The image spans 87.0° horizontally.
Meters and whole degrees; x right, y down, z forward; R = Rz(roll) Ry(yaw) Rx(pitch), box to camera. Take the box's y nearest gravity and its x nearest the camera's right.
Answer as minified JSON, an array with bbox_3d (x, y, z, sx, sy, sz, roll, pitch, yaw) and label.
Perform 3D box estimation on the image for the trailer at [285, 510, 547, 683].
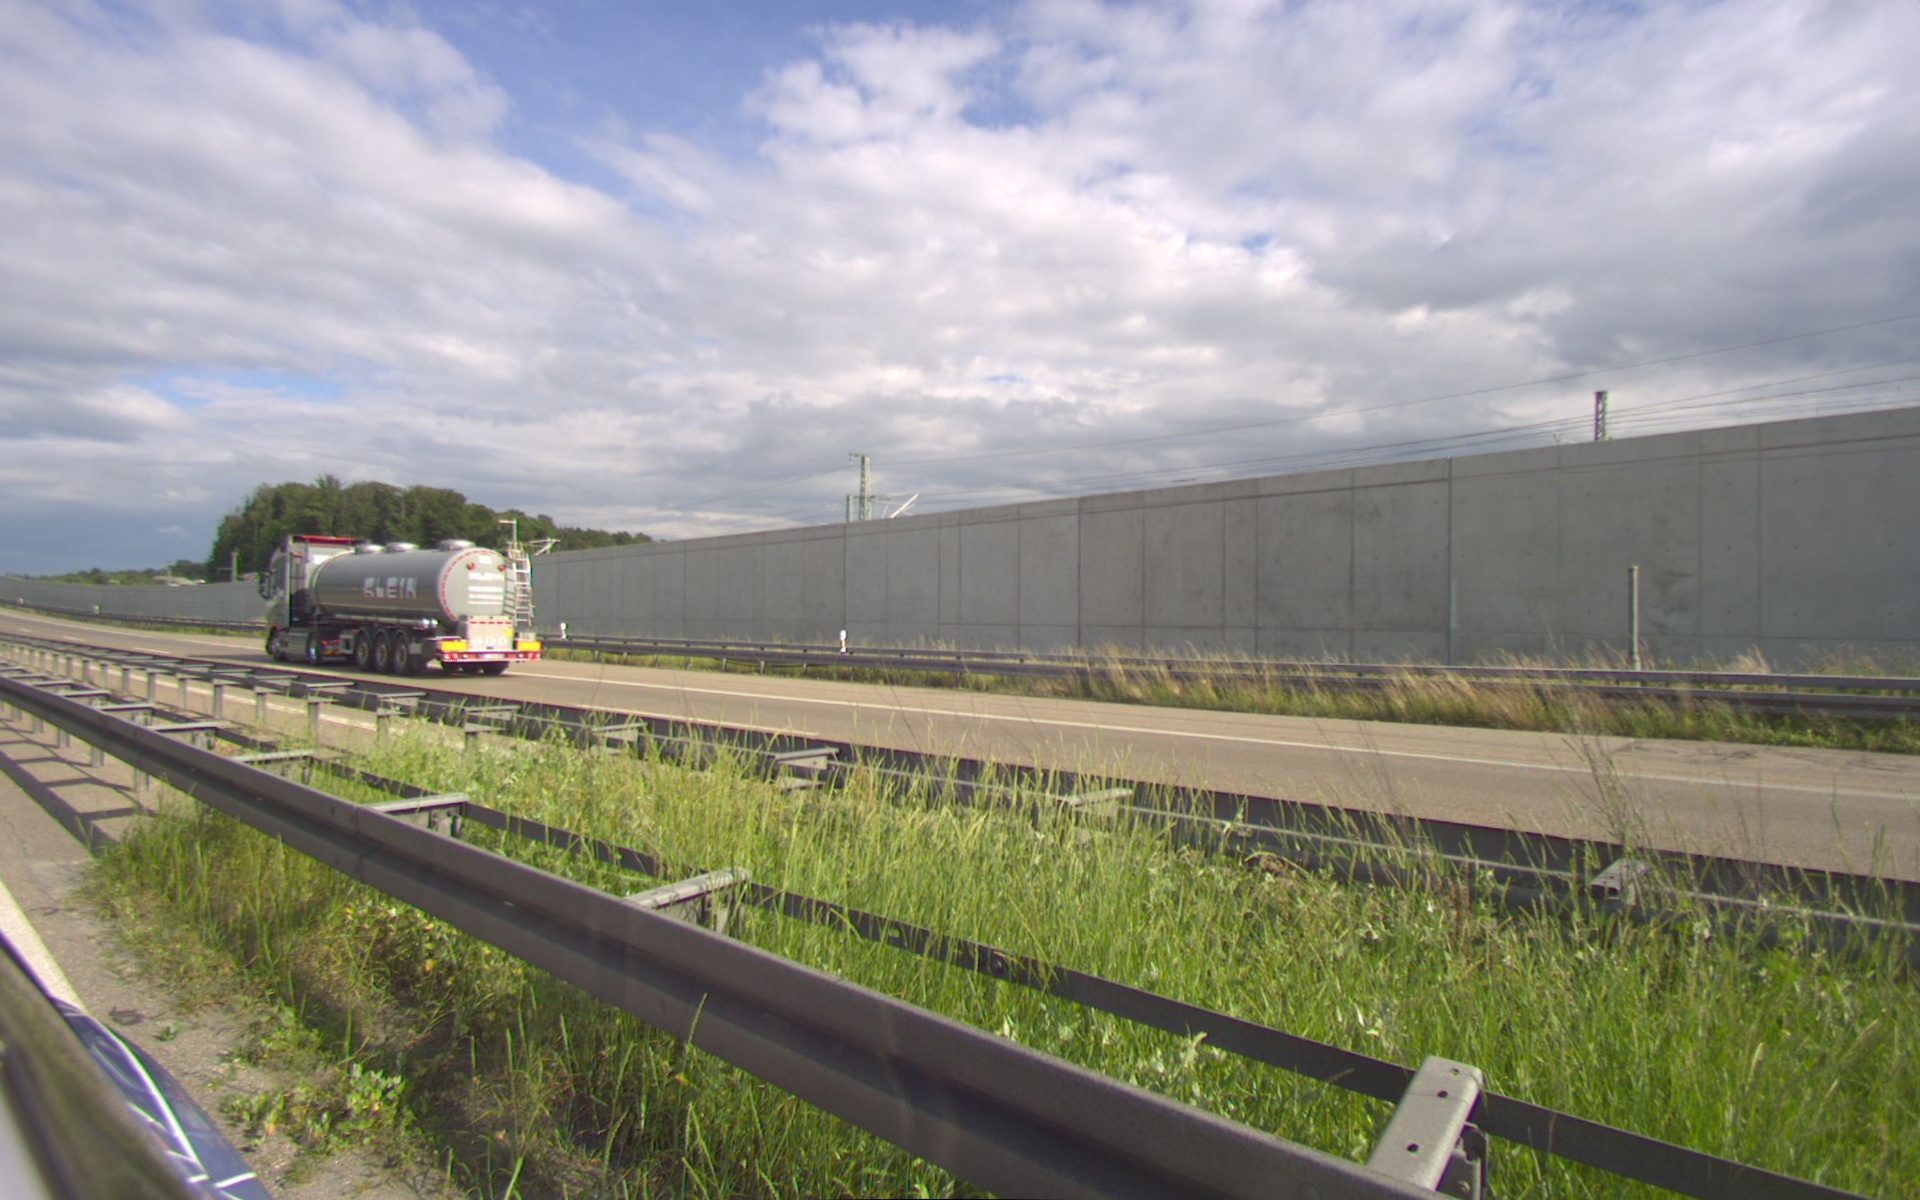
[{"bbox_3d":[-15.153,0.018,27.573,10.858,3.931,2.561,-1,-2,41],"label":"trailer"}]

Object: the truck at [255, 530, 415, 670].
[{"bbox_3d":[-19.392,0.062,31.297,5.719,3.953,2.555,-1,-2,41],"label":"truck"}]
